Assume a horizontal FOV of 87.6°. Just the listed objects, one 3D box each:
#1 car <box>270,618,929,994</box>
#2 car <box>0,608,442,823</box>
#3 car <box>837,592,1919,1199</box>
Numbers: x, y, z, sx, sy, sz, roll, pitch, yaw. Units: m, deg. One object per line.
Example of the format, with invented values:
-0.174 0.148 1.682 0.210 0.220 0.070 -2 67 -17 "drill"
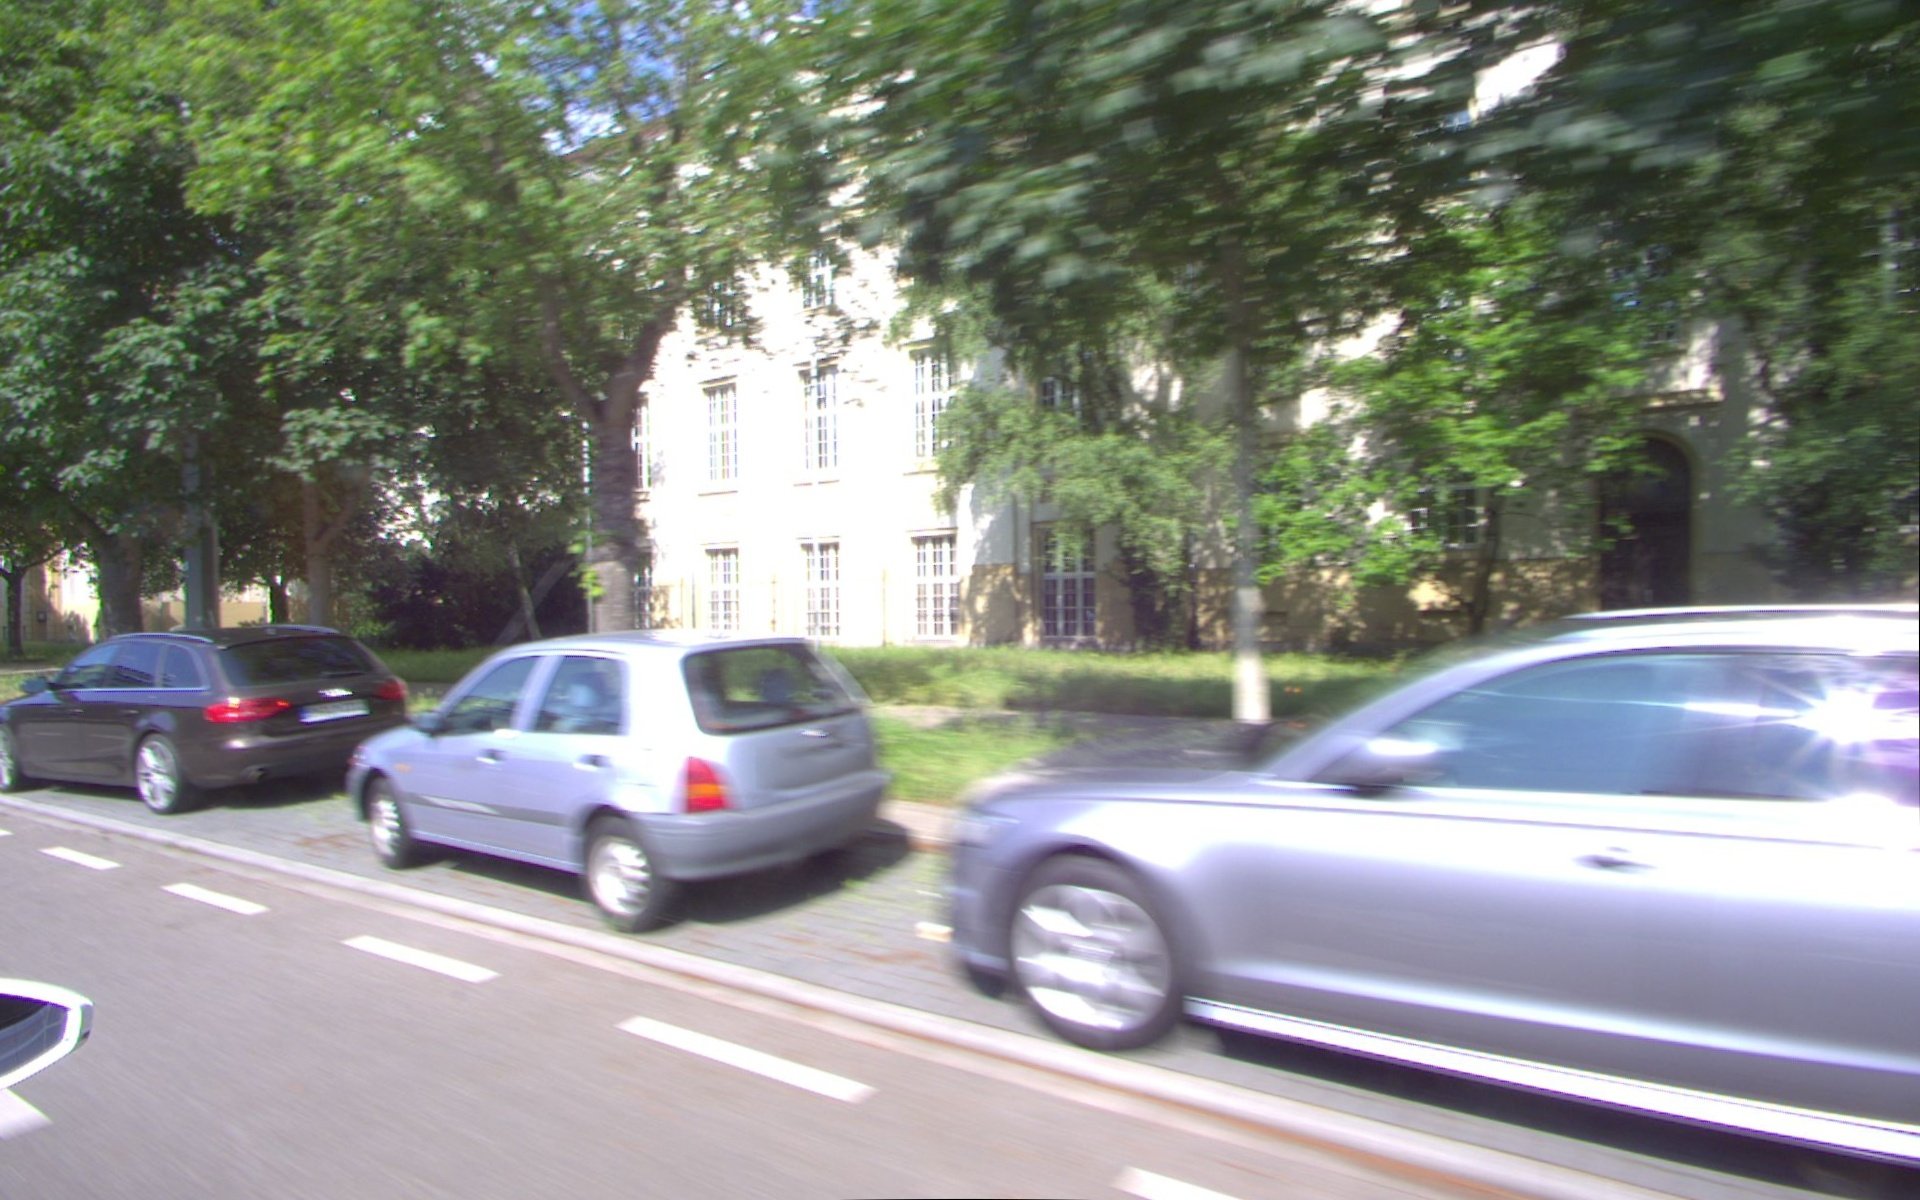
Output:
-2.274 0.896 5.950 3.959 1.451 1.630 0 3 34 "car"
-7.149 0.918 9.206 4.757 1.487 1.828 -2 2 28 "car"
2.135 0.758 3.320 4.976 1.461 1.824 0 3 32 "car"
